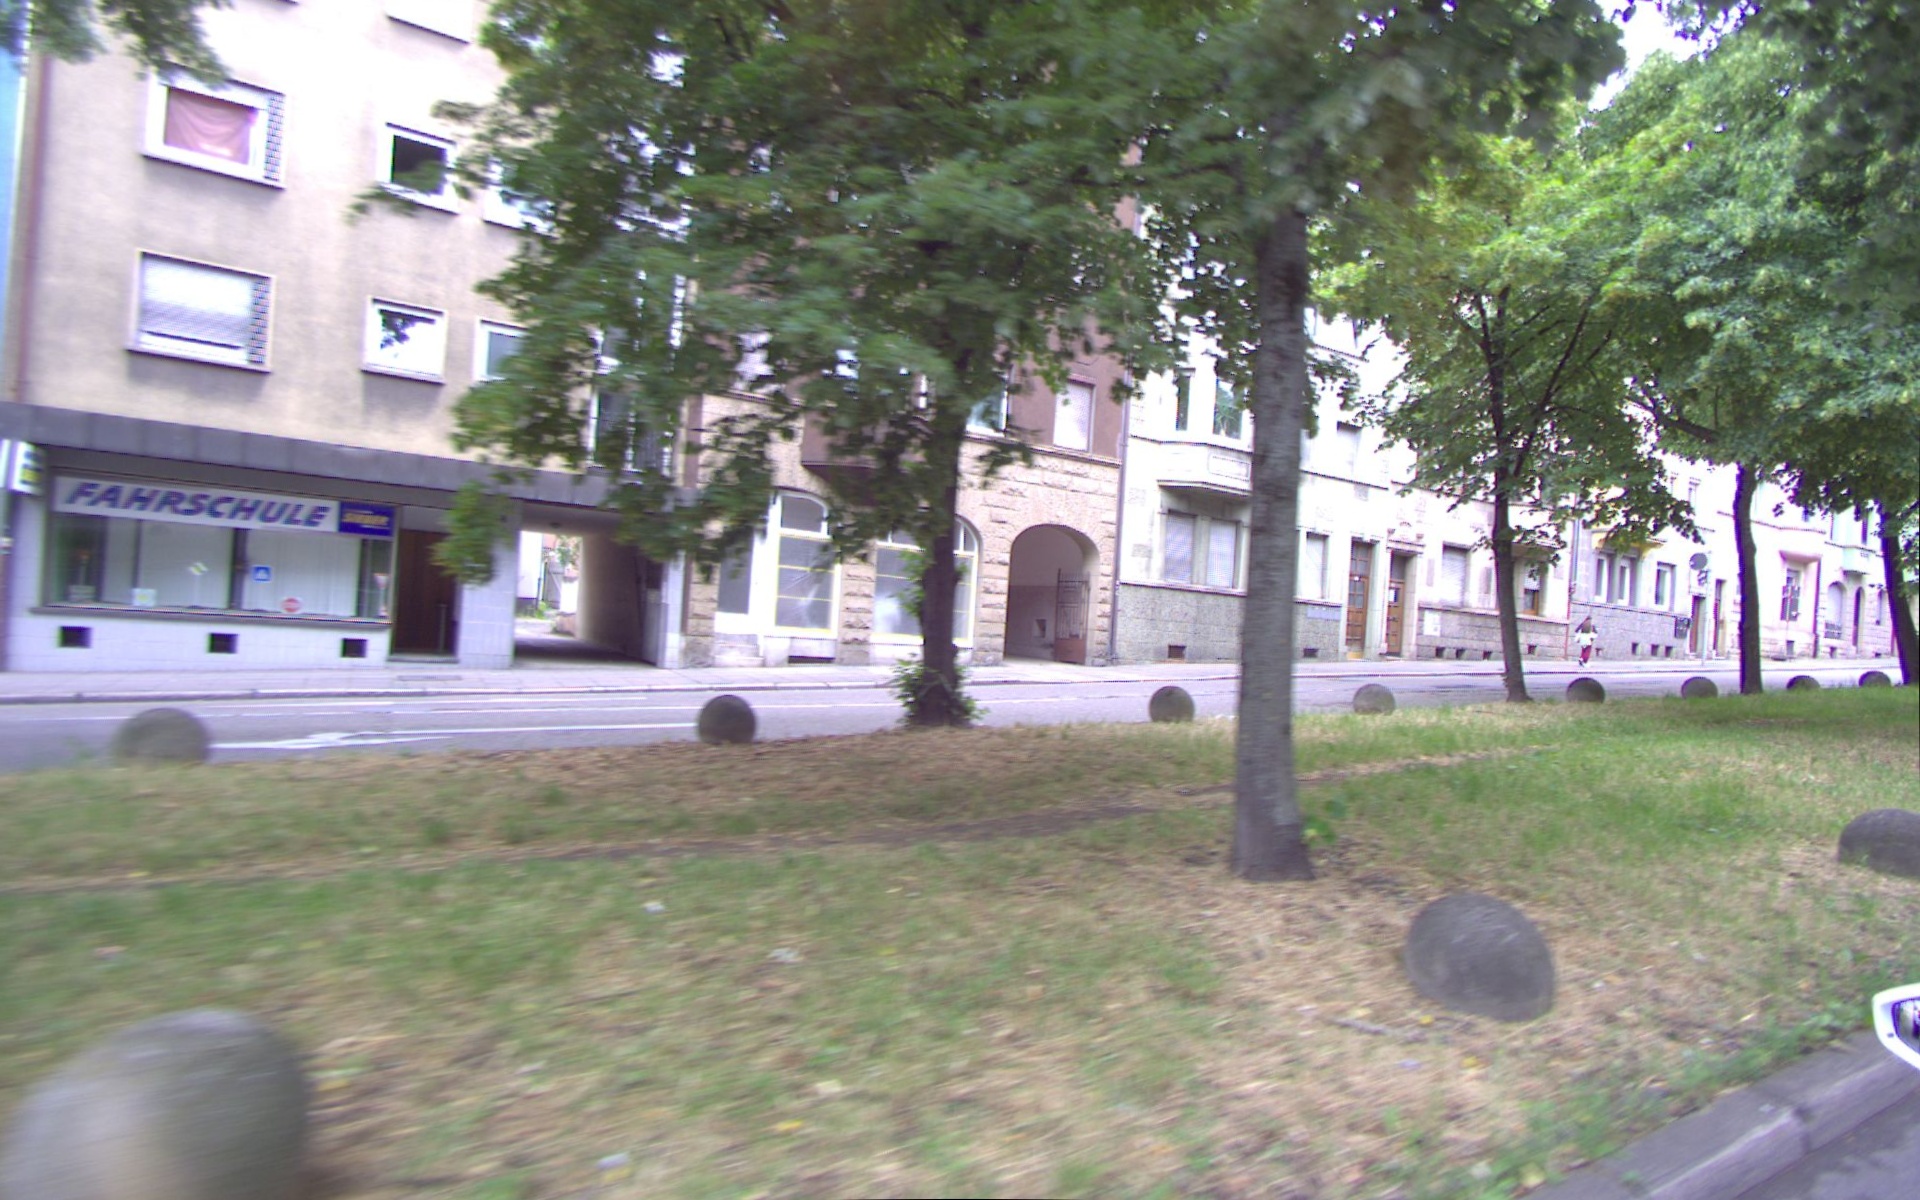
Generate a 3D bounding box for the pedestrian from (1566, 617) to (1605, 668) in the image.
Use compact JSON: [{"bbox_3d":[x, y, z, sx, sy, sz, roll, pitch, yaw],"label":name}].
[{"bbox_3d":[18.690,1.254,29.998,0.696,1.480,0.695,1,1,-30],"label":"pedestrian"}]
